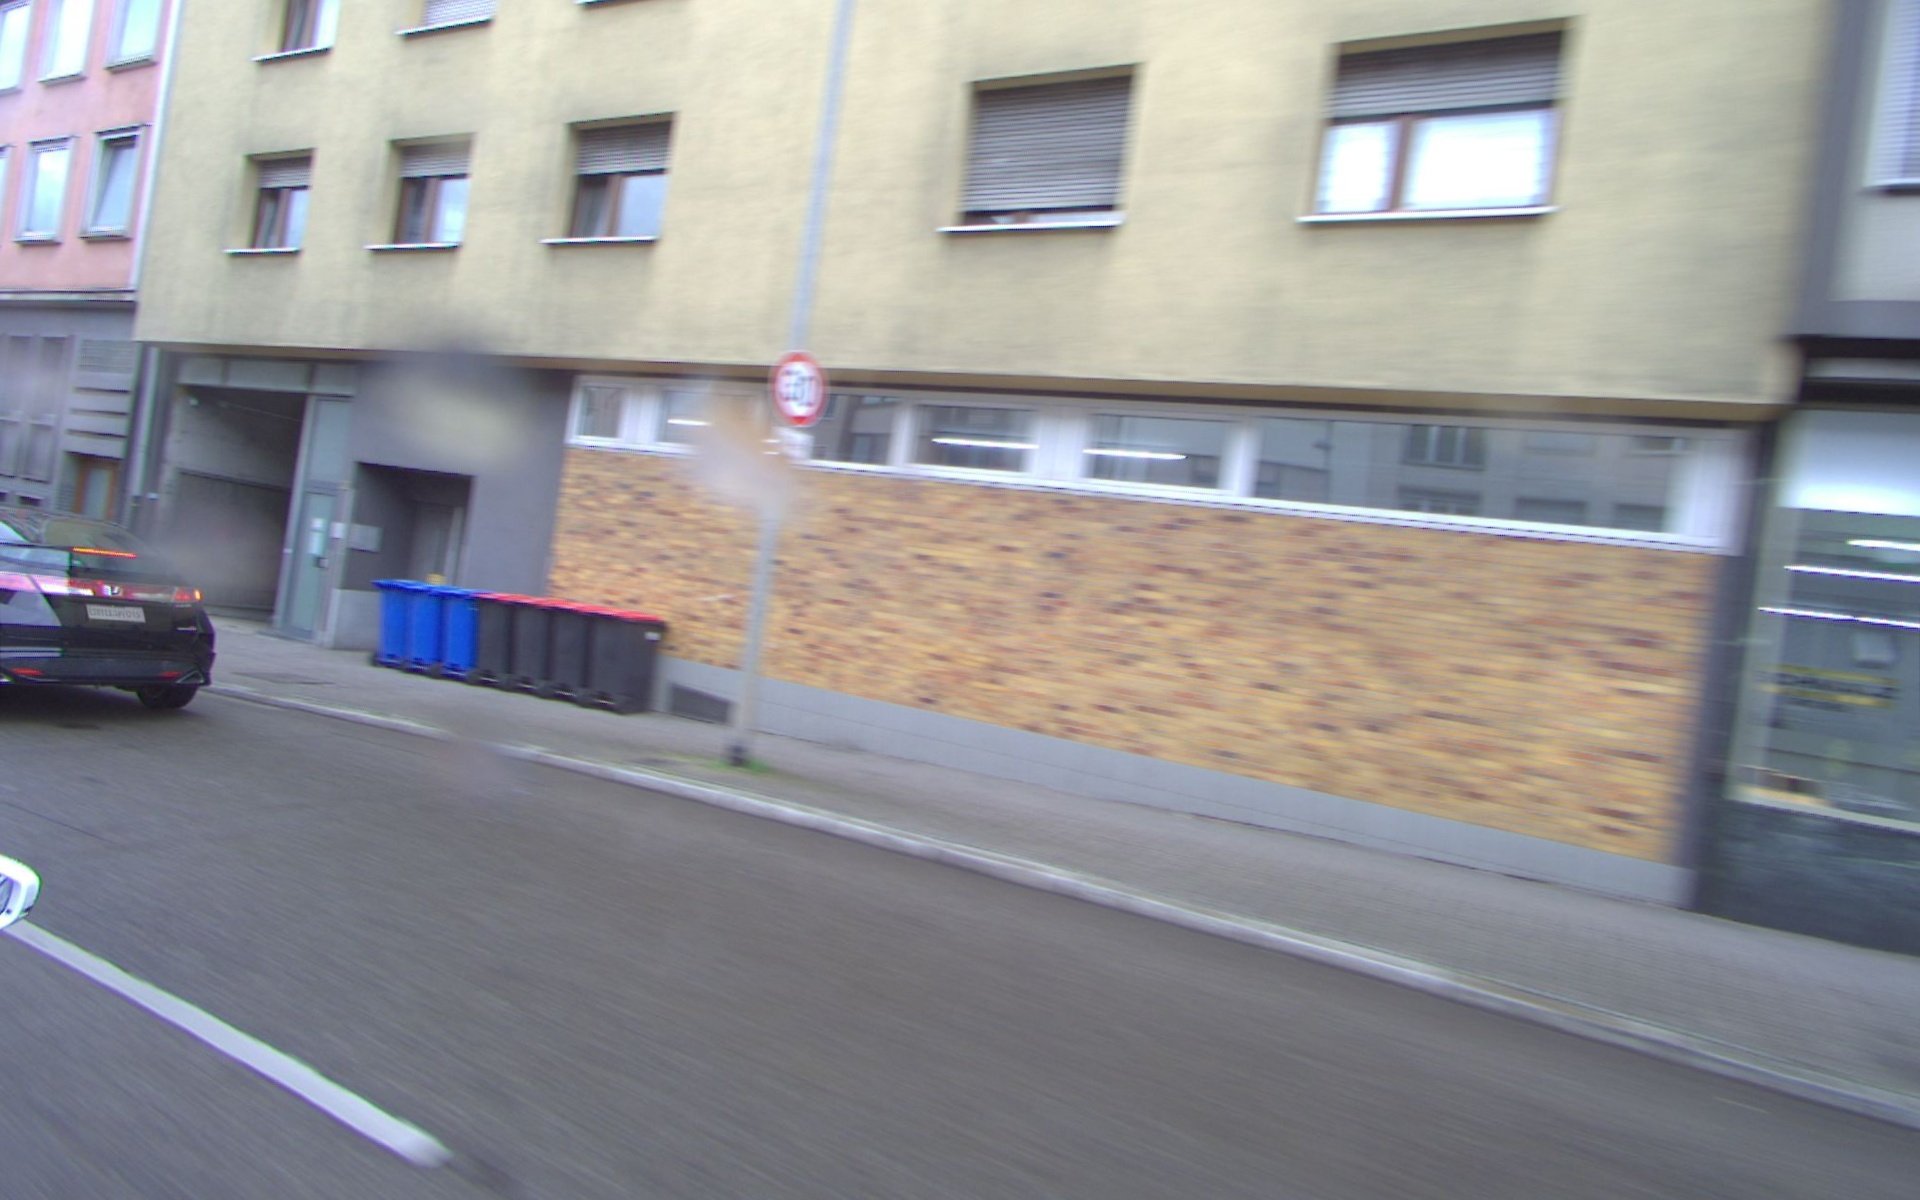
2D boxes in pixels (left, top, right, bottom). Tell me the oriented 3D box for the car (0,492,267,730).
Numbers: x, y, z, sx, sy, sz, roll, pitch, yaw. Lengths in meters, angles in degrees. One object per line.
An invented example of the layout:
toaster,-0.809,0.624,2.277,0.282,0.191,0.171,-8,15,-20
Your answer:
car,-7.648,-0.068,7.831,3.983,1.514,1.790,6,-2,24

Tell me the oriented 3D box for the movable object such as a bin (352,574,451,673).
movable object such as a bin,-6.787,0.295,12.242,0.656,1.089,0.683,7,0,24

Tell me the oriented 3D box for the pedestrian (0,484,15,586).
pedestrian,-16.402,-1.083,16.593,1.076,1.808,0.674,8,-1,27

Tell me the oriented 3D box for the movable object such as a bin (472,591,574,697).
movable object such as a bin,-4.945,0.502,11.412,0.656,1.089,0.683,7,0,24

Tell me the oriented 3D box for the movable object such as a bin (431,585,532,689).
movable object such as a bin,-5.553,0.437,11.684,0.656,1.089,0.683,7,0,24

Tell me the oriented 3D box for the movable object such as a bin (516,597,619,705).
movable object such as a bin,-4.333,0.566,11.133,0.656,1.089,0.683,7,0,24

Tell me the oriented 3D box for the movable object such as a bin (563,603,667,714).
movable object such as a bin,-3.717,0.632,10.865,0.656,1.089,0.683,7,0,24

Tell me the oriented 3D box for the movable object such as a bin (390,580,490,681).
movable object such as a bin,-6.166,0.371,11.953,0.656,1.089,0.683,7,0,24
